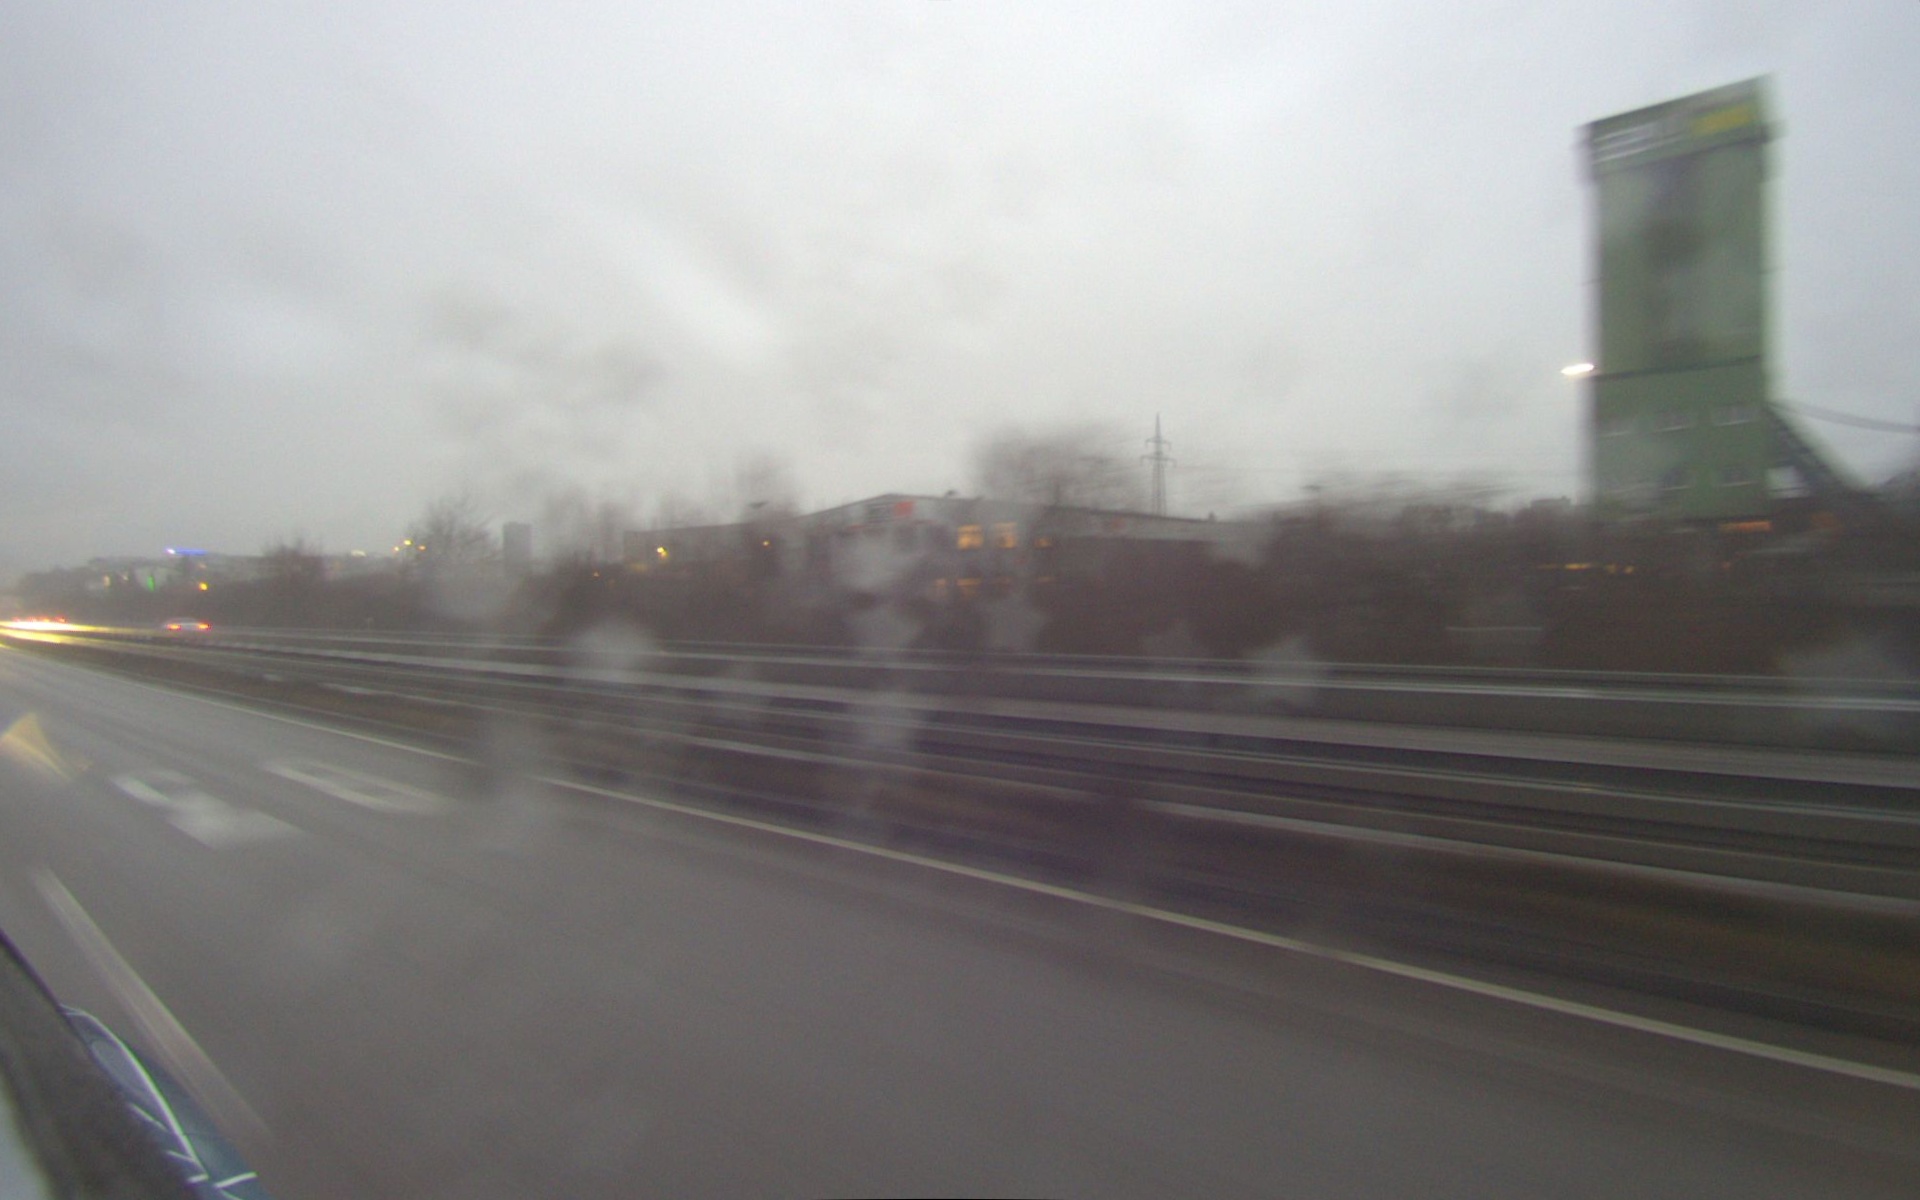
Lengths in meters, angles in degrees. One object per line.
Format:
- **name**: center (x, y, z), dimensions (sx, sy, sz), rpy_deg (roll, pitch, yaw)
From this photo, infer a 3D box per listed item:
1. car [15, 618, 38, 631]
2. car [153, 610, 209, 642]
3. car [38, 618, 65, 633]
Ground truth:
- **car**: center (-112.175, 2.915, 121.606), dimensions (4.366, 1.486, 1.684), rpy_deg (-1, -1, 43)
- **car**: center (-44.490, 1.482, 57.784), dimensions (4.526, 1.638, 1.744), rpy_deg (-1, 2, 43)
- **car**: center (-92.431, 2.557, 102.921), dimensions (4.366, 1.486, 1.684), rpy_deg (-1, -1, 43)
